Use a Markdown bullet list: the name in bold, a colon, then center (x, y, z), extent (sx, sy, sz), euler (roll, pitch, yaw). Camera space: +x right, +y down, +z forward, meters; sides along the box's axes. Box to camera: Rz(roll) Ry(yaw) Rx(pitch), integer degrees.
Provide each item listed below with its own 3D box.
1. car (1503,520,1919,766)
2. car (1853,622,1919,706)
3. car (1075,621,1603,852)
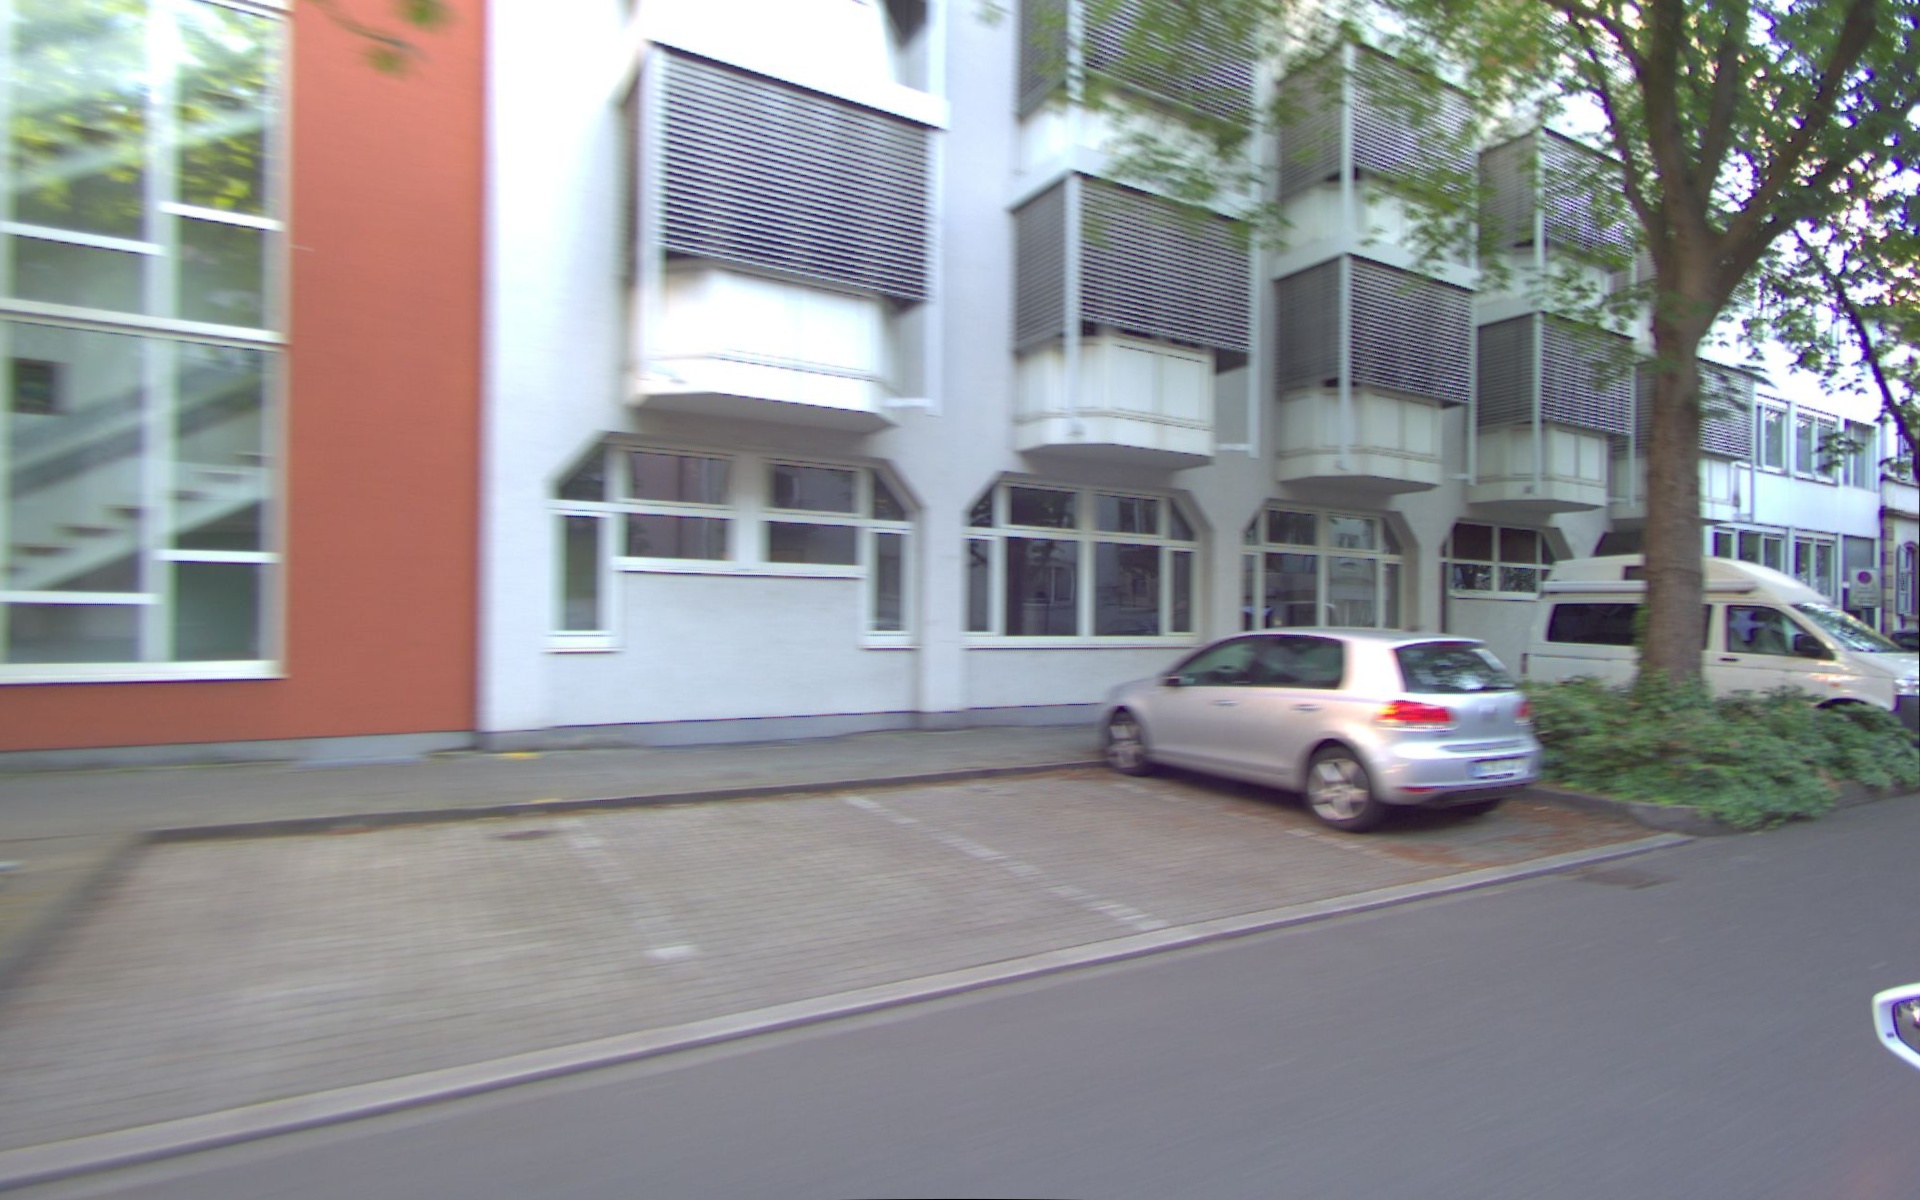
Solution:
- **car**: center (10.062, 0.487, 13.023), extent (2.096, 2.607, 4.980), euler (1, -1, -30)
- **car**: center (20.616, 1.297, 19.260), extent (2.134, 1.643, 4.832), euler (1, -1, -29)
- **car**: center (3.022, 0.956, 8.924), extent (1.929, 1.488, 4.150), euler (1, -1, -29)
